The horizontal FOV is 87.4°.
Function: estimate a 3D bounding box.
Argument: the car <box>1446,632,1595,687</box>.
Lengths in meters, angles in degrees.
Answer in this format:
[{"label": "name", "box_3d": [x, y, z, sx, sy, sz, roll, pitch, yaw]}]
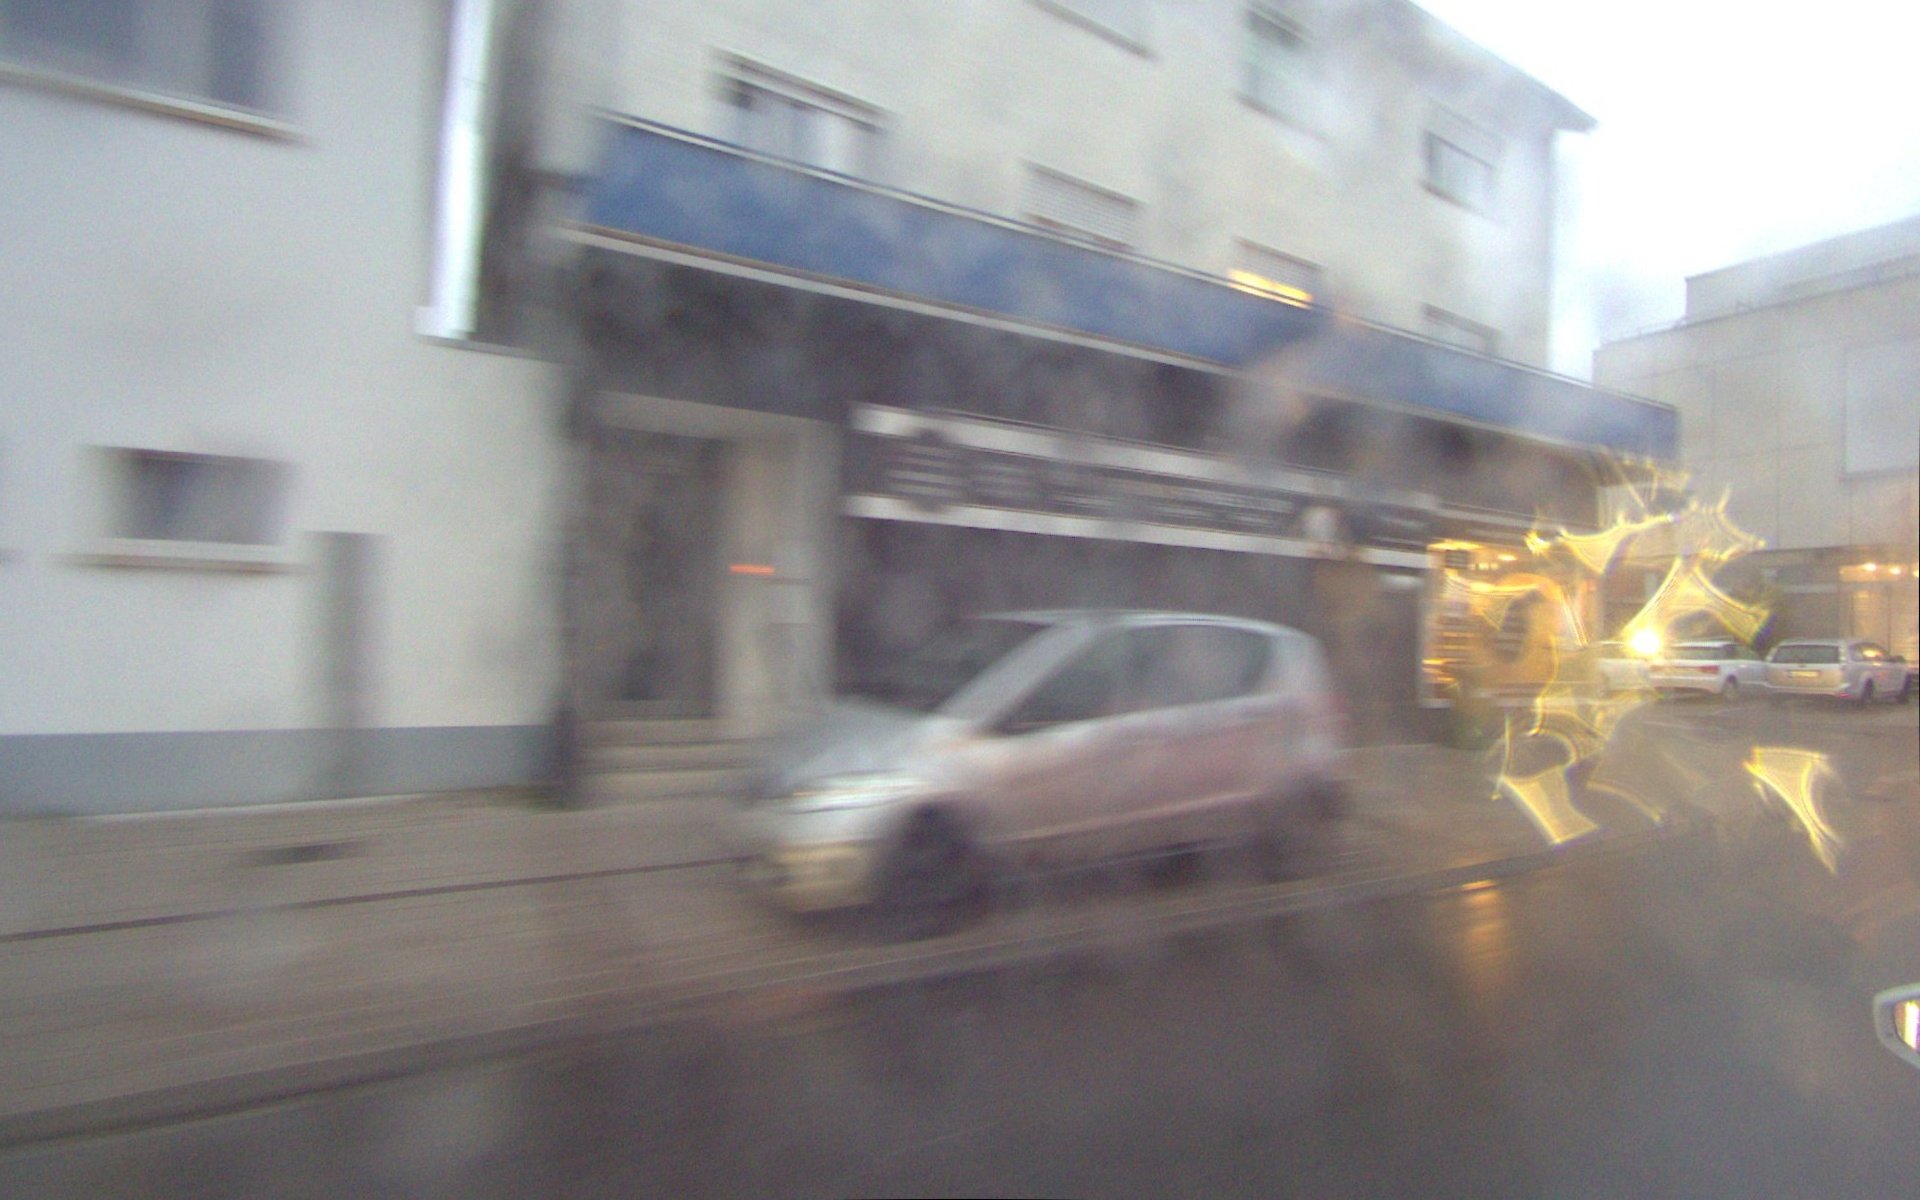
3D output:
[{"label": "car", "box_3d": [17.005, 1.765, 30.444, 4.389, 1.483, 1.693, 0, -1, -25]}]

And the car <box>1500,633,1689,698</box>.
[{"label": "car", "box_3d": [17.199, 1.704, 27.204, 4.979, 1.520, 2.095, 0, -1, -27]}]

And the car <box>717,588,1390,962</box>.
[{"label": "car", "box_3d": [0.621, 0.805, 6.128, 3.769, 1.636, 1.713, 1, 1, -29]}]

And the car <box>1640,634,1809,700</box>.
[{"label": "car", "box_3d": [19.118, 1.616, 25.088, 4.395, 1.419, 1.691, 0, -1, -29]}]

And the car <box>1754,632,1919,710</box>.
[{"label": "car", "box_3d": [19.734, 1.513, 22.498, 4.402, 1.520, 1.753, 0, -1, -33]}]
